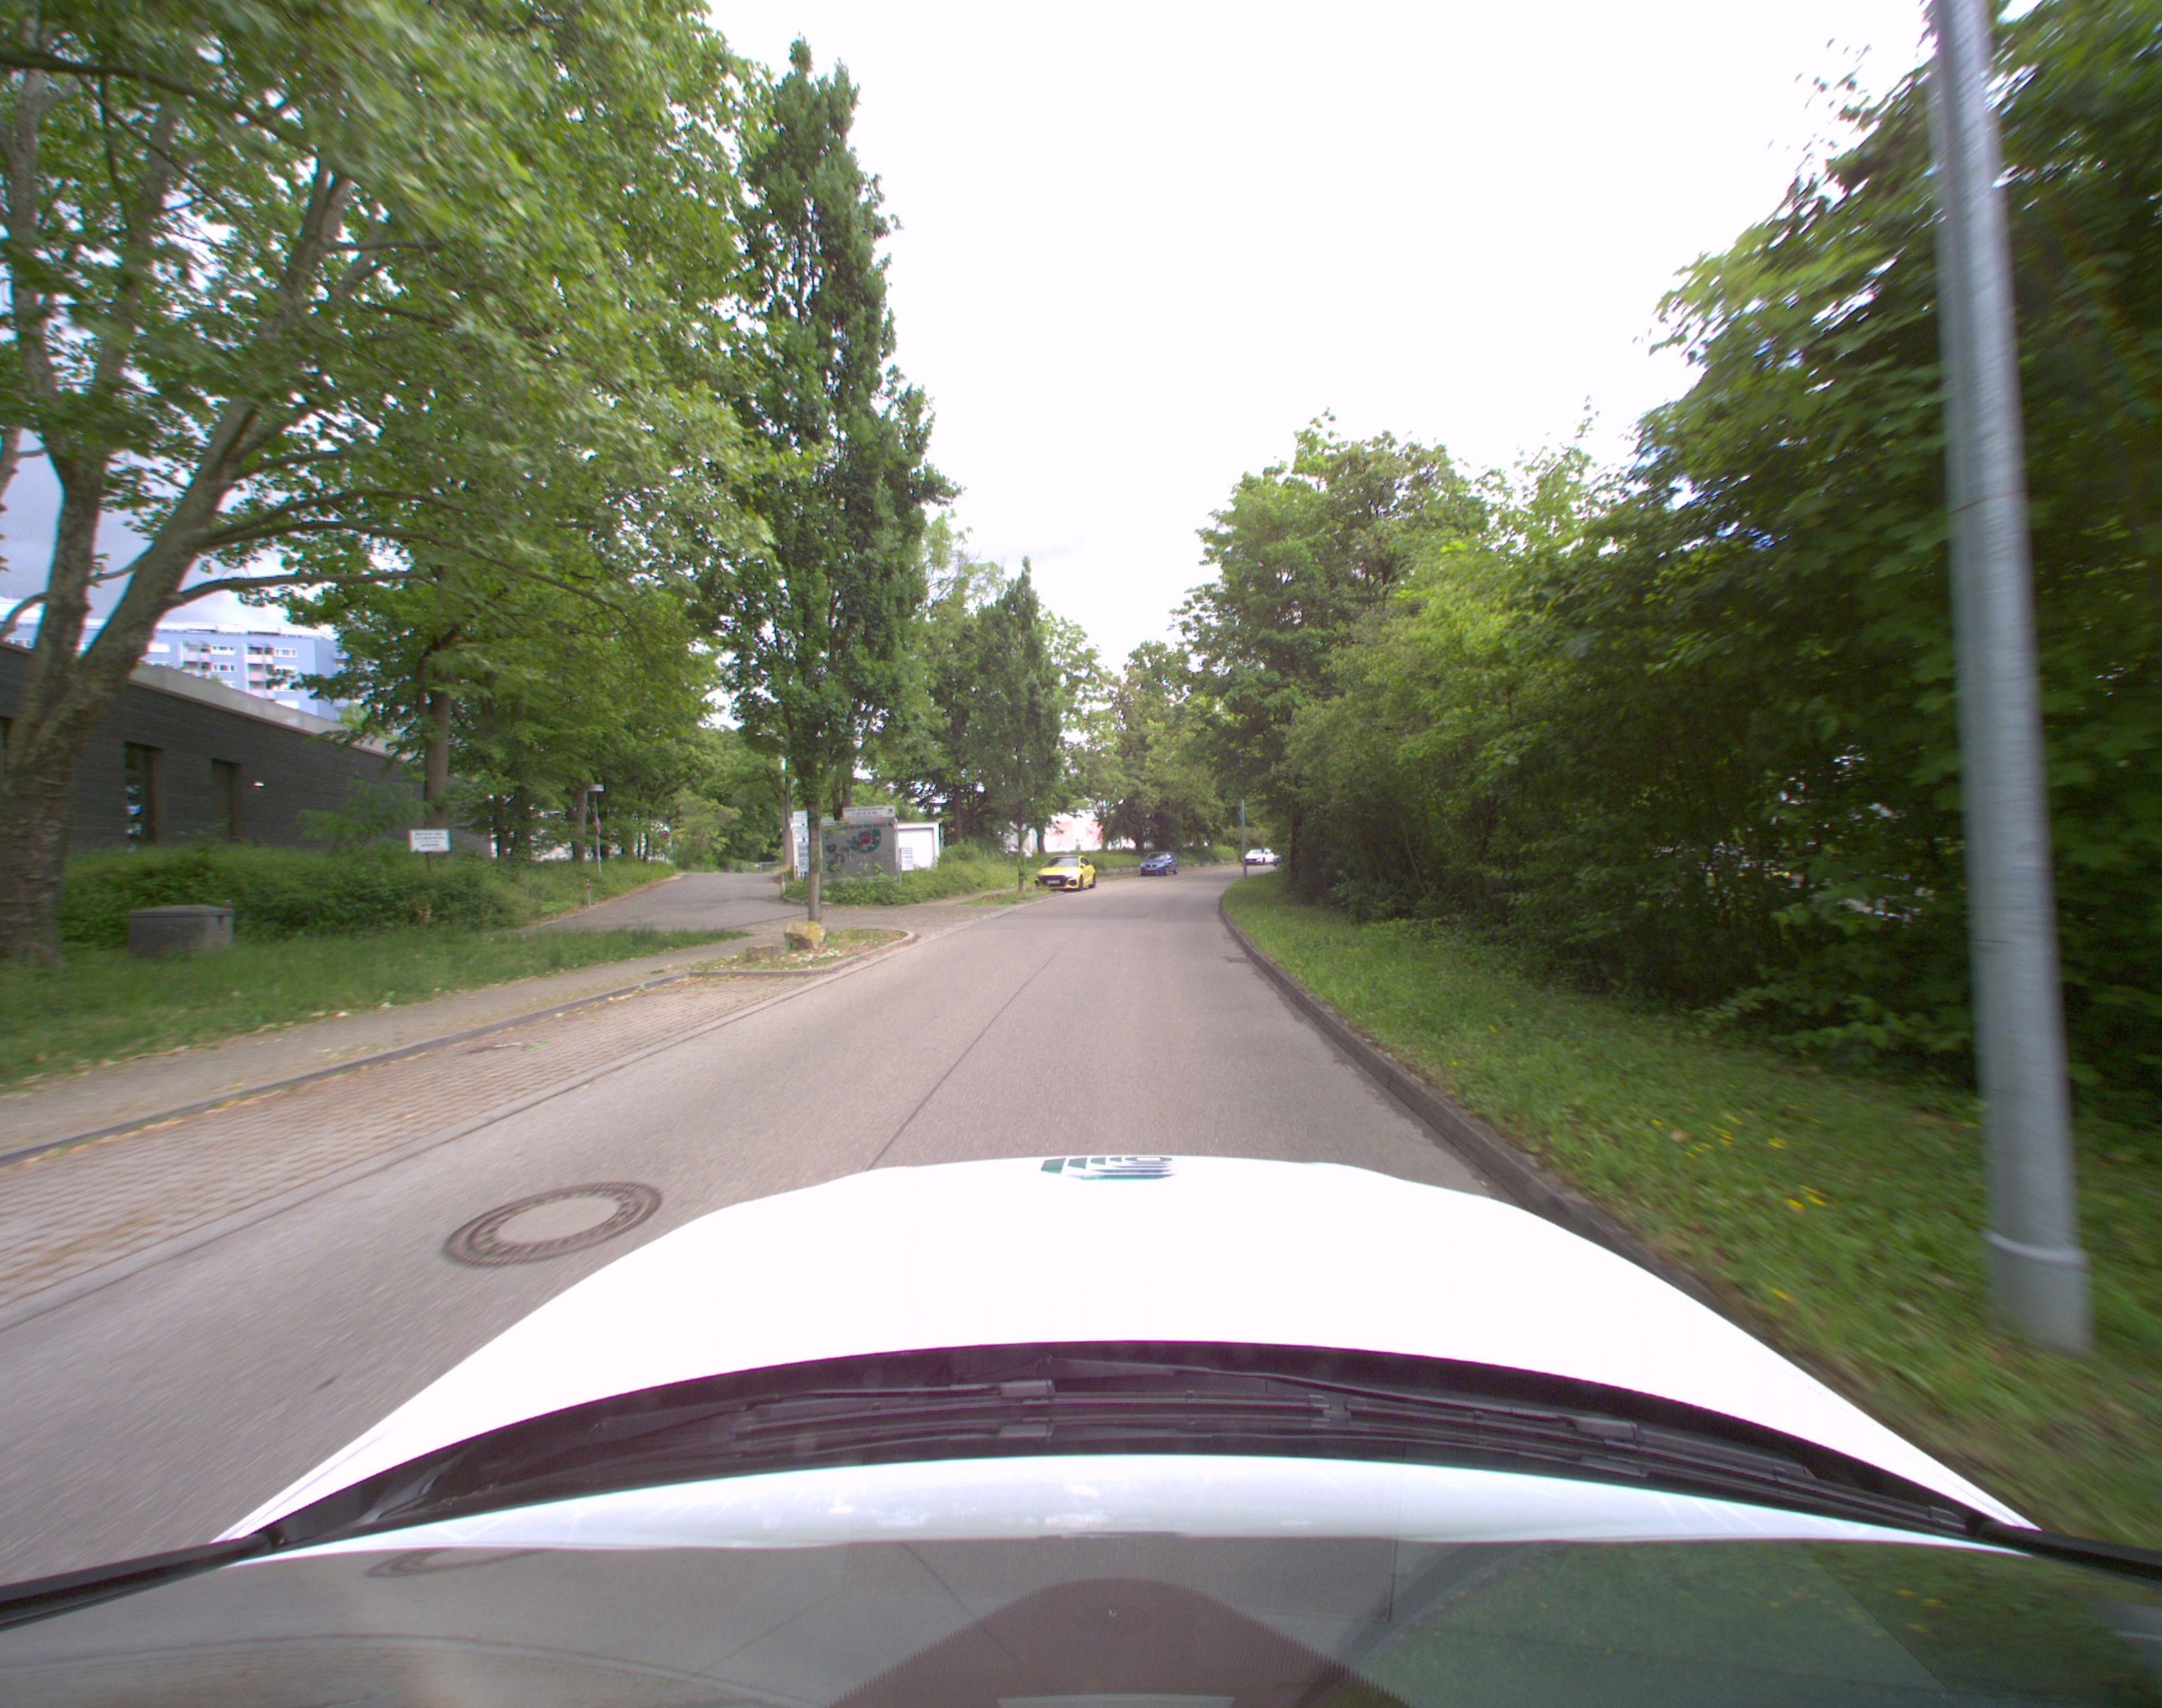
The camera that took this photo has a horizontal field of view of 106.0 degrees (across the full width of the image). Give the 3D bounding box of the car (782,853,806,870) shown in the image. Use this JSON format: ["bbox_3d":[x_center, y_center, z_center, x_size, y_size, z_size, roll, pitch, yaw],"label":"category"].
[{"bbox_3d":[-31.469,0.849,89.340,1.874,1.746,3.982,-3,0,-13],"label":"car"}]

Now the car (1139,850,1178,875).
[{"bbox_3d":[4.858,0.501,50.647,1.520,1.459,3.739,-2,0,20],"label":"car"}]

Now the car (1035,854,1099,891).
[{"bbox_3d":[-0.507,0.730,33.480,1.689,1.403,4.287,-1,0,12],"label":"car"}]

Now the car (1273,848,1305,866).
[{"bbox_3d":[17.673,0.260,69.086,1.660,1.462,4.087,0,1,30],"label":"car"}]

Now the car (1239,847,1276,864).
[{"bbox_3d":[15.440,0.120,71.068,1.796,1.424,4.388,-1,0,31],"label":"car"}]

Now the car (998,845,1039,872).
[{"bbox_3d":[-4.148,0.293,53.459,1.746,1.622,3.849,-3,0,-18],"label":"car"}]
